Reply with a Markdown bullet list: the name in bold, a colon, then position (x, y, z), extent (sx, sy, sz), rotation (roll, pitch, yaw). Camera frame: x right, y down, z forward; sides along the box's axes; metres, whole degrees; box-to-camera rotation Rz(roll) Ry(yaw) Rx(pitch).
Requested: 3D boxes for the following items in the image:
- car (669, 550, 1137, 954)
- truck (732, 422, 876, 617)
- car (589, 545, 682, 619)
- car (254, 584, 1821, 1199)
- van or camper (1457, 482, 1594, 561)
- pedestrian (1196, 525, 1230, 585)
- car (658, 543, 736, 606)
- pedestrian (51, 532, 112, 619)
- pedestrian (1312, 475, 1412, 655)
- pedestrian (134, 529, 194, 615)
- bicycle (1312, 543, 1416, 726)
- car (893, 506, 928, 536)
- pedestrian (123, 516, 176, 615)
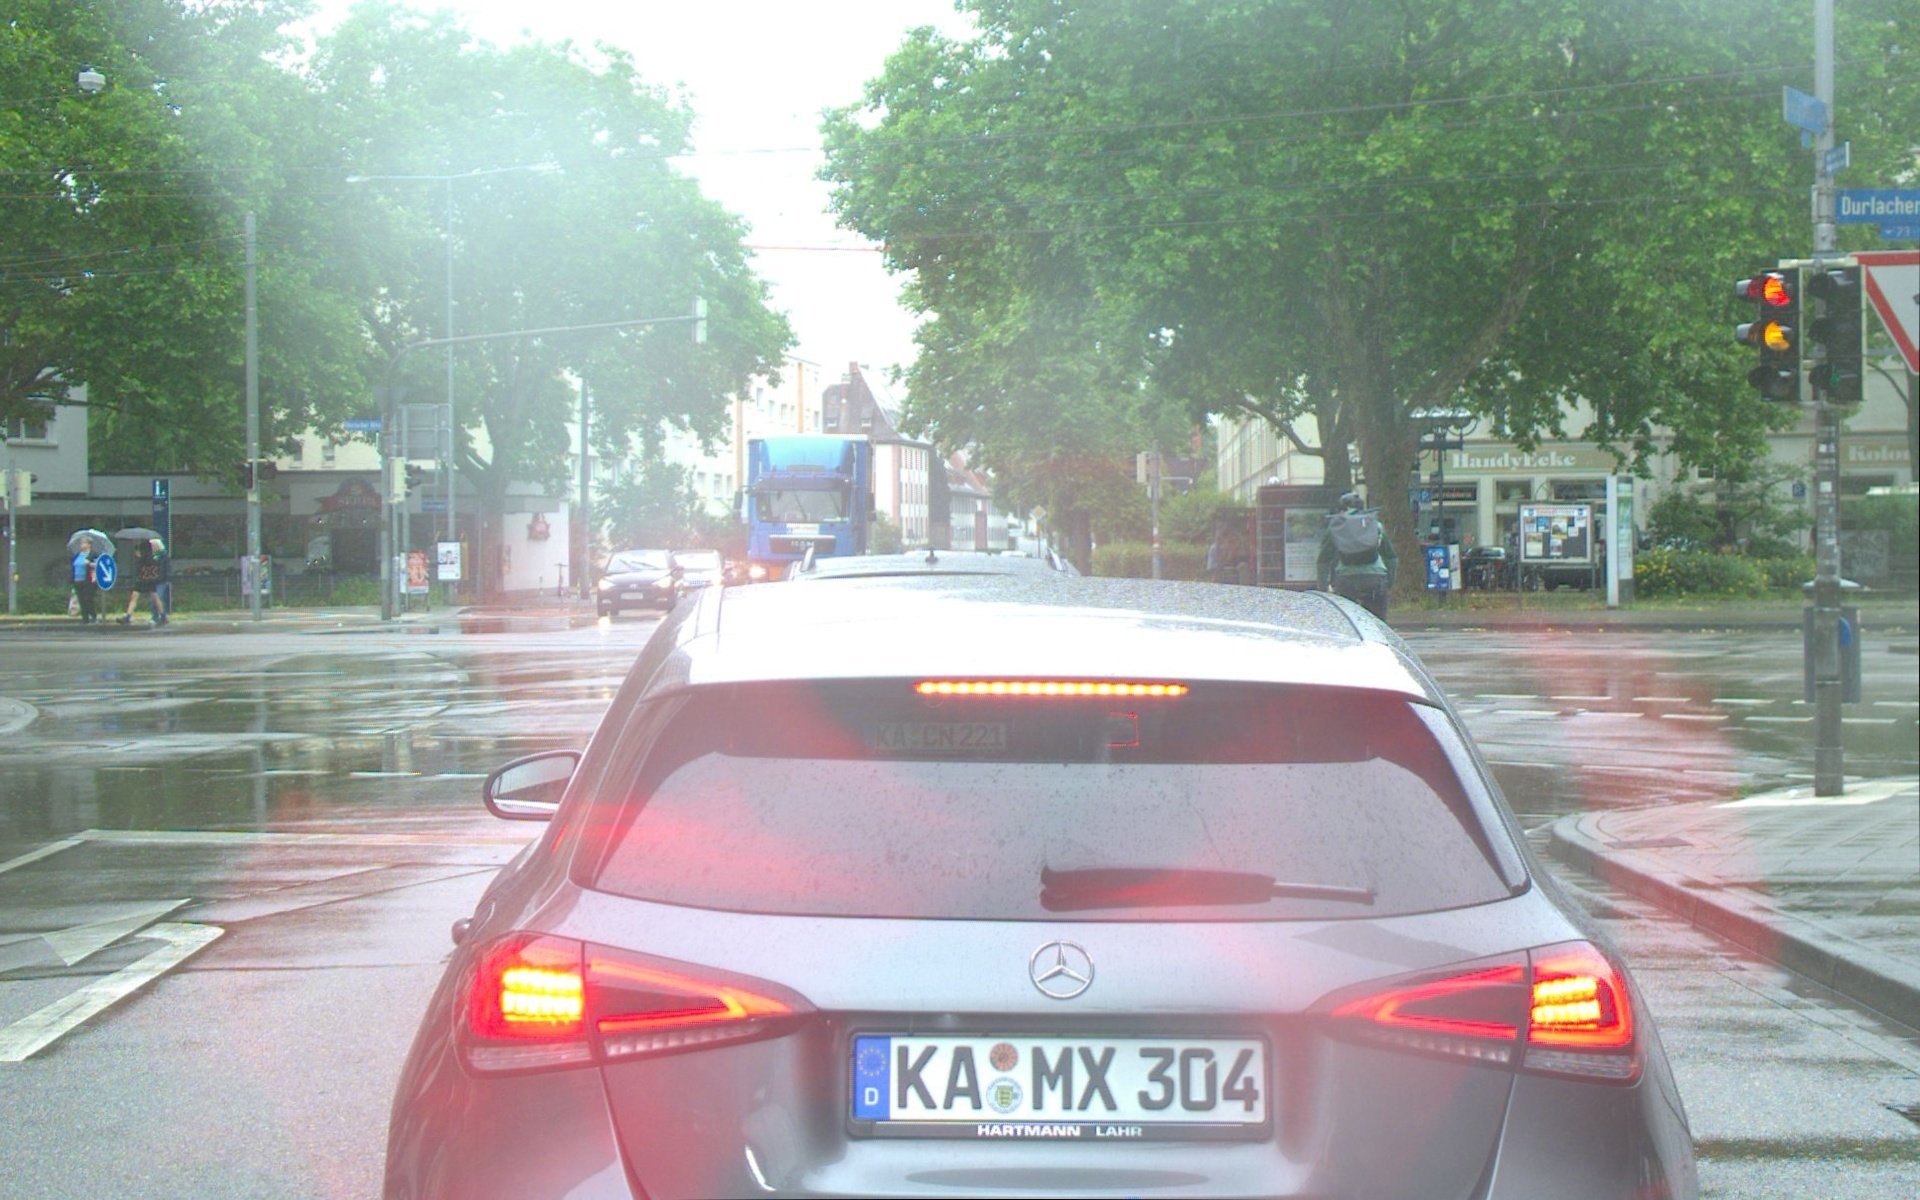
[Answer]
- **car**: position (-0.222, 0.504, 14.055), extent (1.607, 1.368, 4.000), rotation (-1, 1, -1)
- **truck**: position (-3.375, -1.761, 76.750), extent (2.845, 4.011, 10.317), rotation (-1, 1, -1)
- **car**: position (-7.130, -0.420, 75.783), extent (1.743, 1.541, 3.779), rotation (-1, 1, -1)
- **car**: position (0.065, 0.693, 5.704), extent (1.791, 1.368, 3.507), rotation (1, 1, -1)
- **van or camper**: position (16.698, -2.286, 101.300), extent (2.400, 2.224, 5.422), rotation (0, 1, 27)
- **pedestrian**: position (7.033, -1.256, 95.564), extent (0.717, 1.663, 0.664), rotation (0, 1, 30)
- **car**: position (-6.674, -0.667, 87.576), extent (1.726, 1.541, 4.340), rotation (-1, 1, -1)
- **pedestrian**: position (-16.871, -0.480, 66.059), extent (0.792, 1.643, 0.816), rotation (-1, 1, 15)
- **pedestrian**: position (3.203, -0.282, 27.468), extent (0.744, 1.393, 1.047), rotation (-1, 1, 6)
- **pedestrian**: position (-15.444, -0.552, 66.690), extent (0.835, 1.643, 0.755), rotation (-1, 1, 15)
- **bicycle**: position (3.224, 0.243, 27.522), extent (0.749, 1.372, 2.706), rotation (-1, 1, 6)
- **car**: position (-3.139, -5.003, 218.593), extent (1.890, 1.830, 4.000), rotation (-1, 1, 3)
- **pedestrian**: position (-15.136, -0.639, 64.200), extent (0.677, 1.832, 0.640), rotation (-2, 1, -42)
